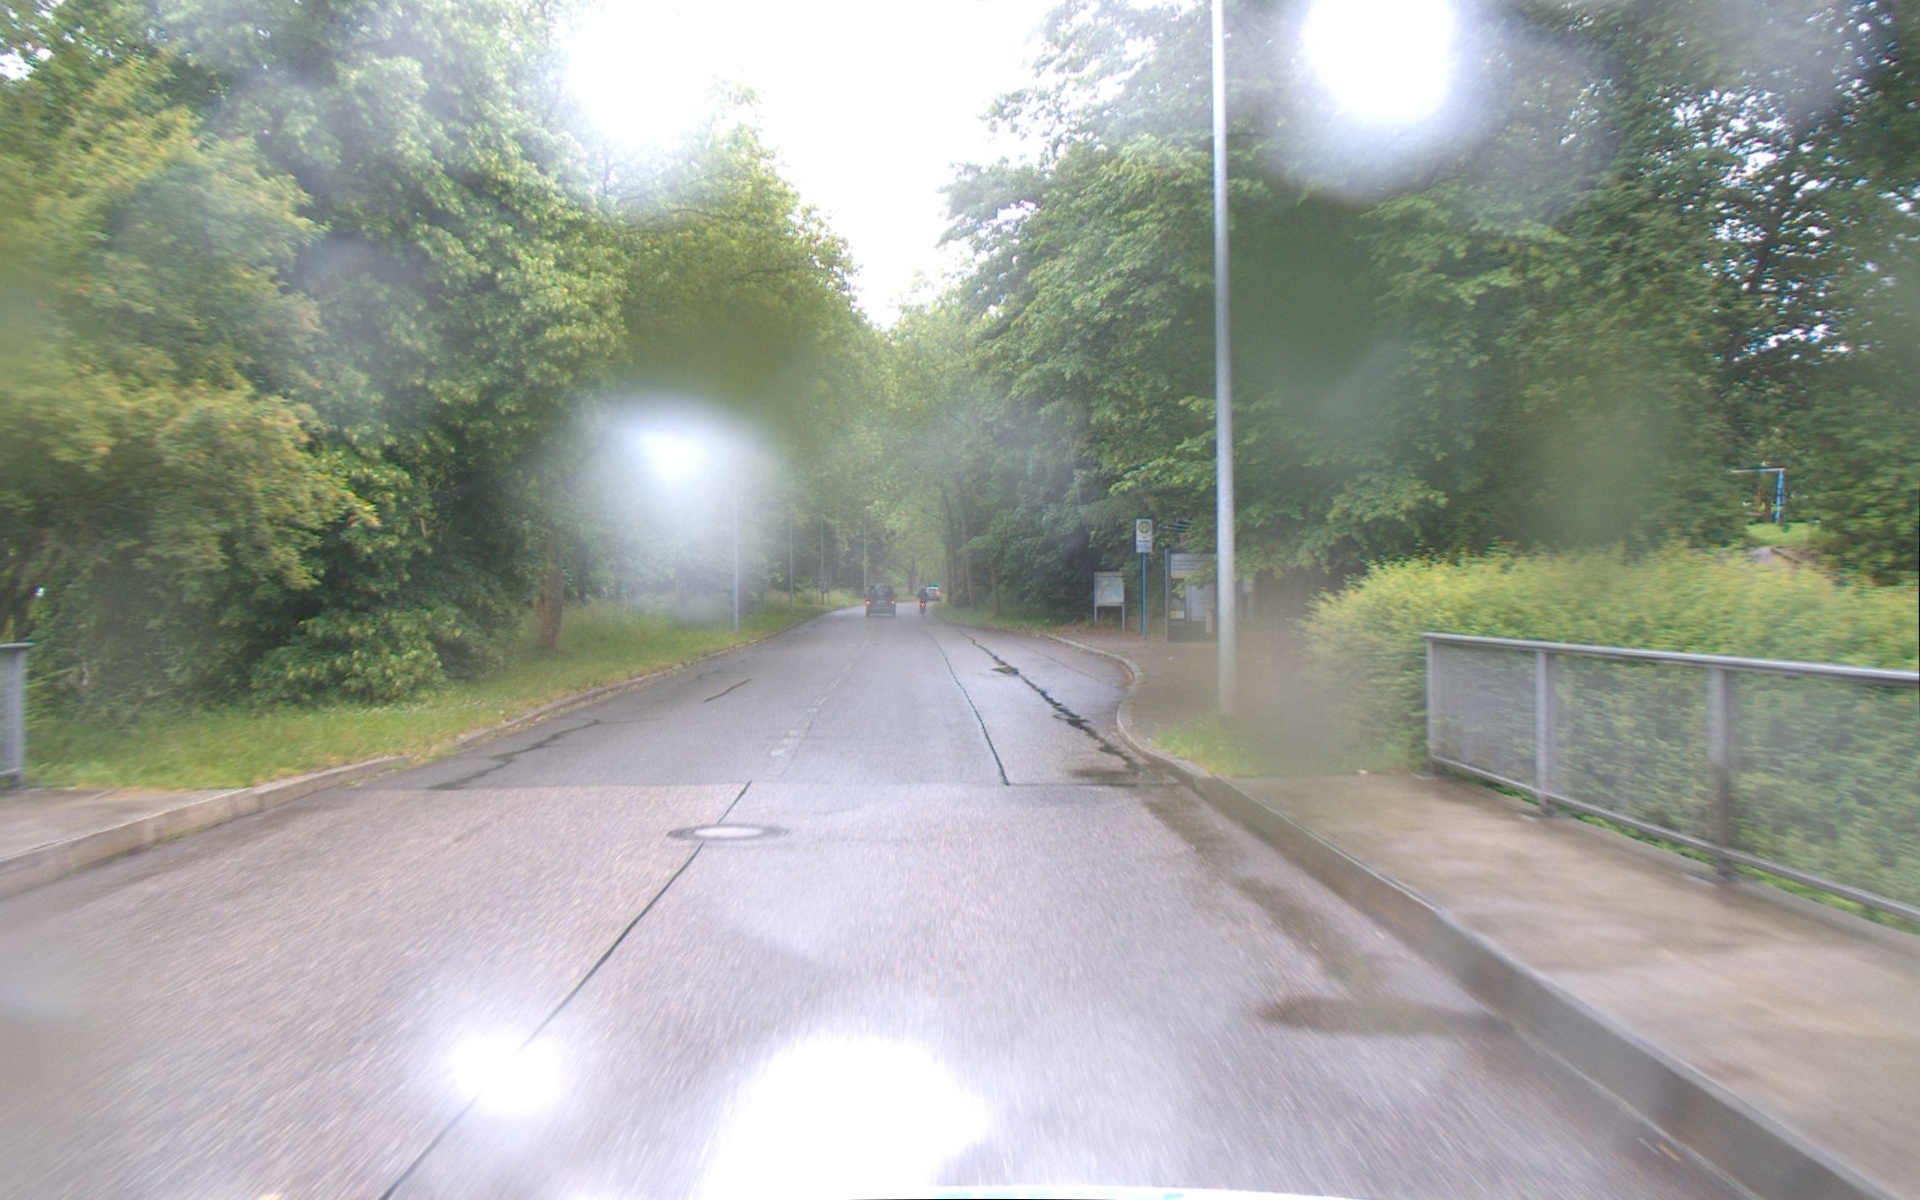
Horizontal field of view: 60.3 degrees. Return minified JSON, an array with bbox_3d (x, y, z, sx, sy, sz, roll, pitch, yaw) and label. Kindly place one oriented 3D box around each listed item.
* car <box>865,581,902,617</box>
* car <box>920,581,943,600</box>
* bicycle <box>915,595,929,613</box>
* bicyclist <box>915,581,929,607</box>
[{"bbox_3d":[-4.388,-0.075,94.419,1.946,1.959,3.997,0,1,-4],"label":"car"},{"bbox_3d":[-2.783,-0.939,161.361,1.955,1.847,3.996,1,0,-5],"label":"car"},{"bbox_3d":[-2.128,0.207,93.024,0.715,0.991,2.173,1,1,1],"label":"bicycle"},{"bbox_3d":[-2.117,-0.346,93.039,0.715,1.435,0.973,1,0,1],"label":"bicyclist"}]
